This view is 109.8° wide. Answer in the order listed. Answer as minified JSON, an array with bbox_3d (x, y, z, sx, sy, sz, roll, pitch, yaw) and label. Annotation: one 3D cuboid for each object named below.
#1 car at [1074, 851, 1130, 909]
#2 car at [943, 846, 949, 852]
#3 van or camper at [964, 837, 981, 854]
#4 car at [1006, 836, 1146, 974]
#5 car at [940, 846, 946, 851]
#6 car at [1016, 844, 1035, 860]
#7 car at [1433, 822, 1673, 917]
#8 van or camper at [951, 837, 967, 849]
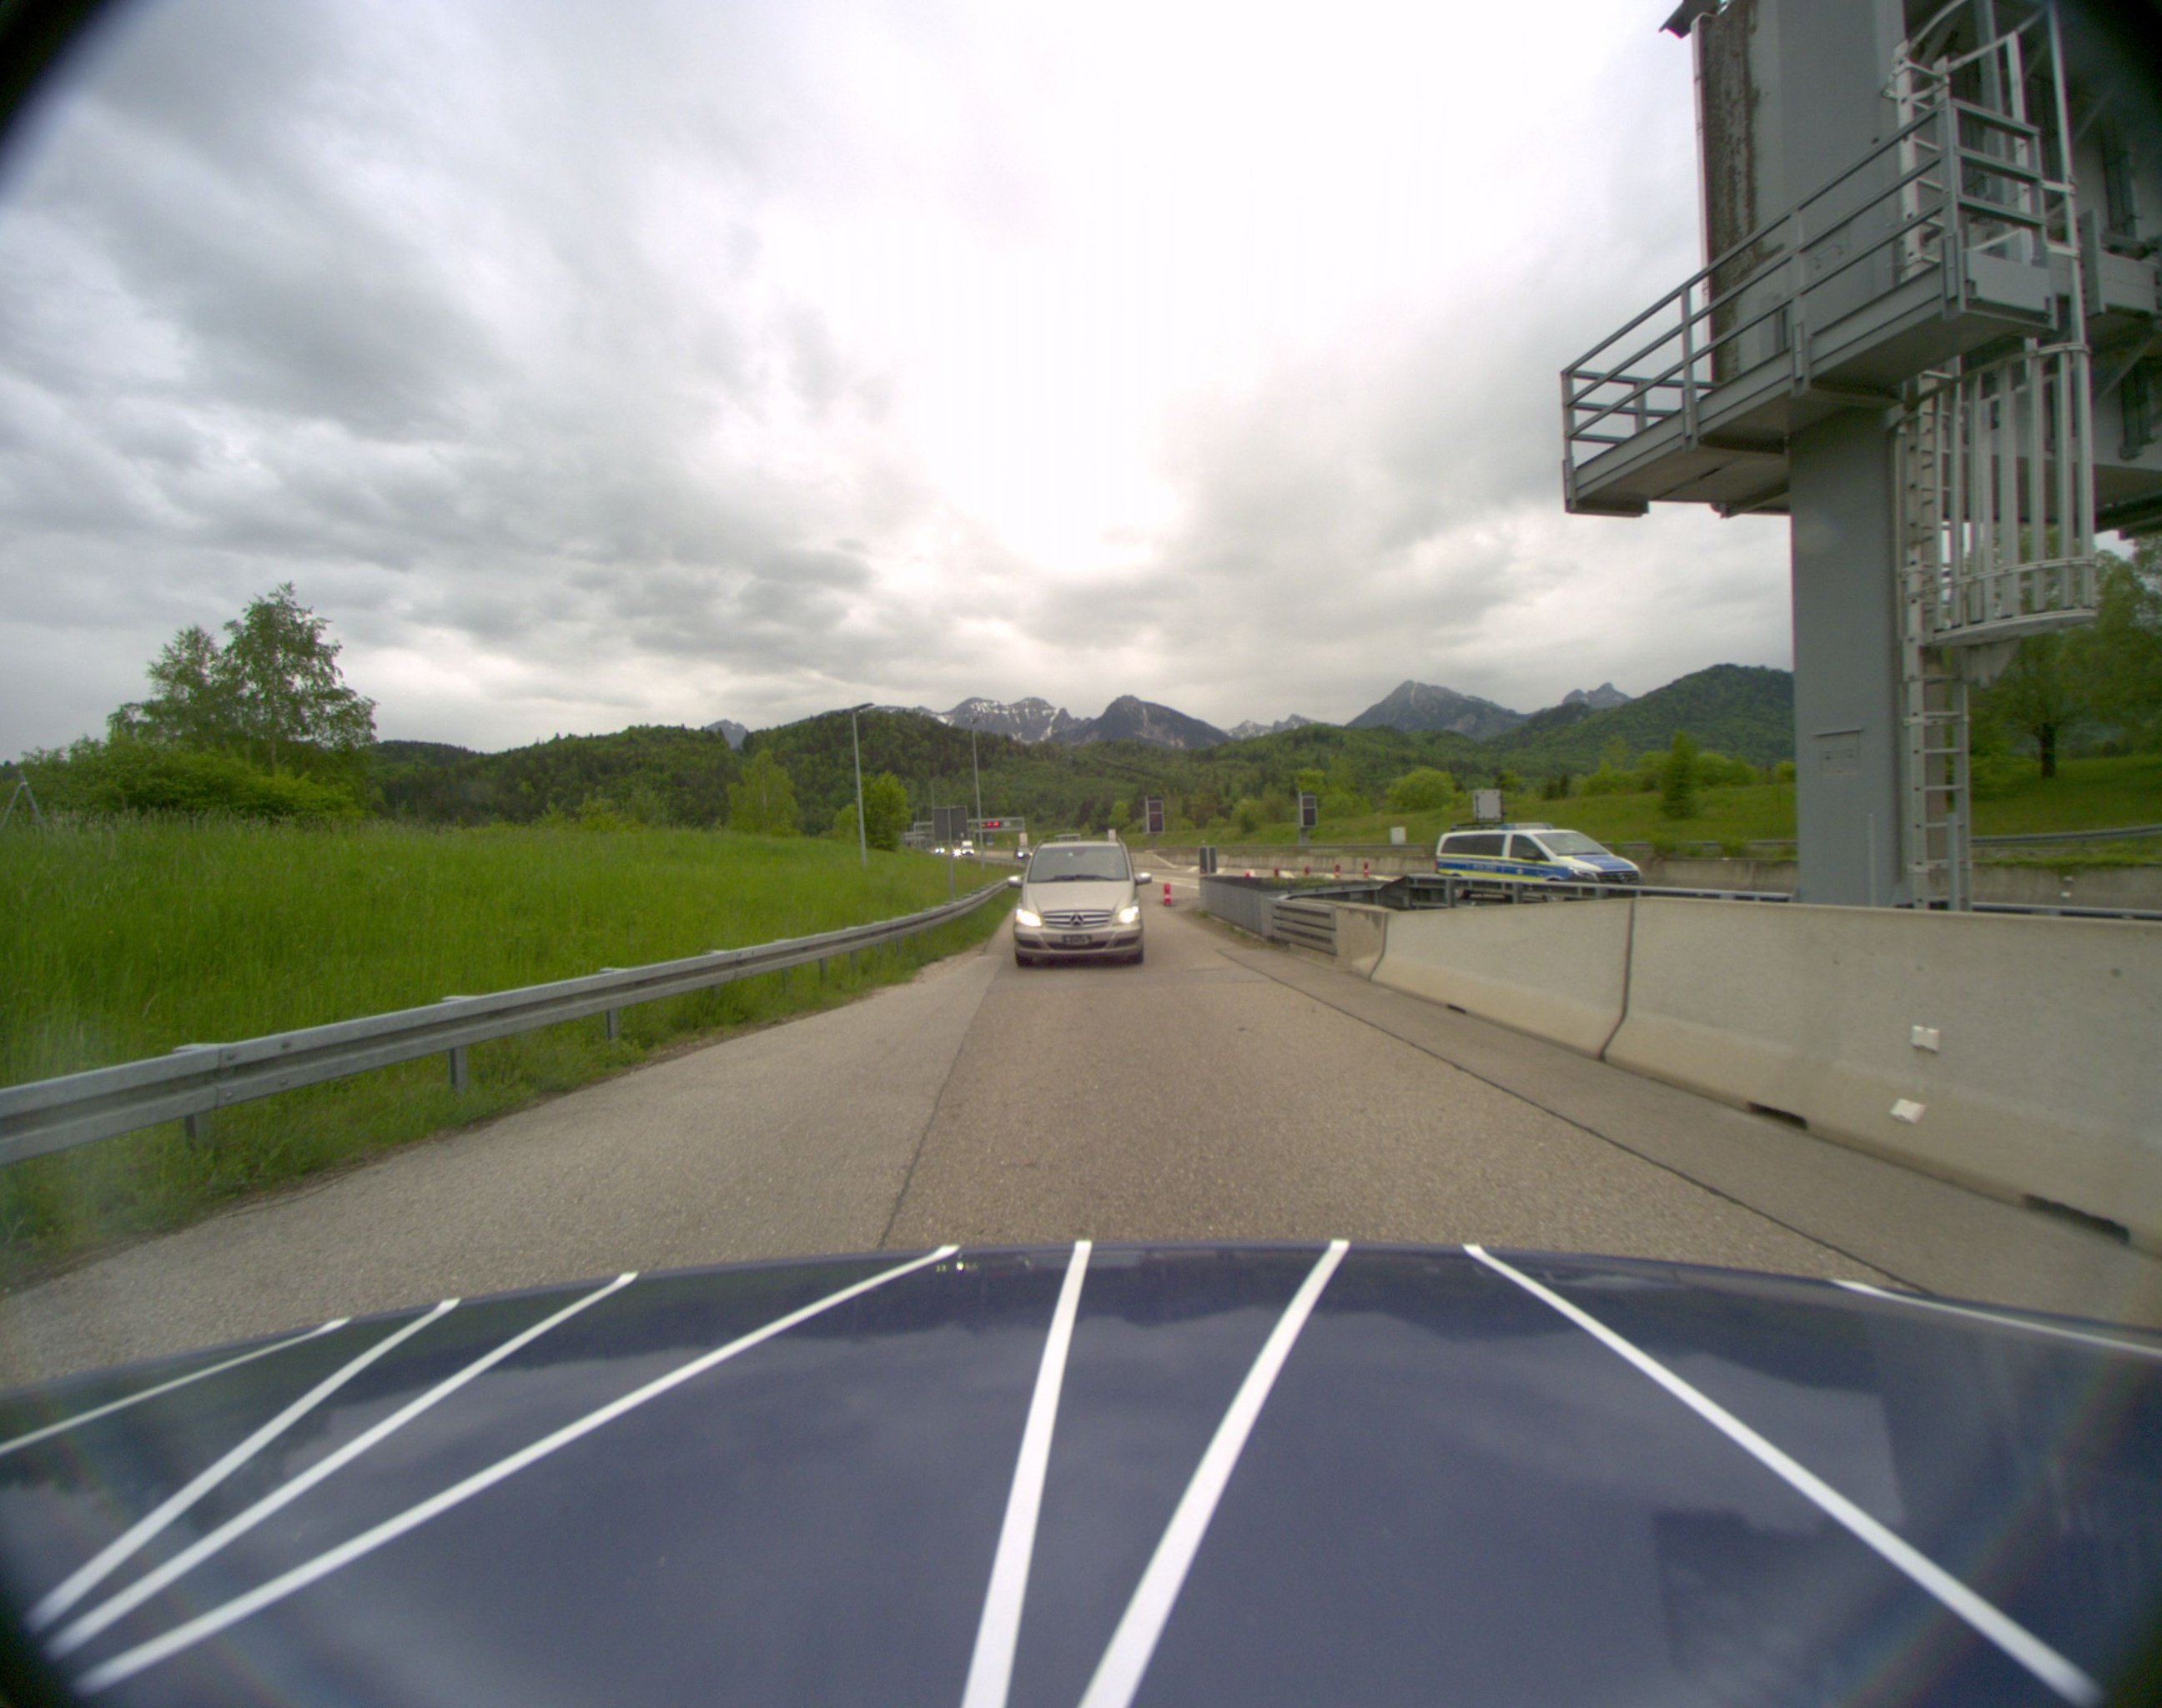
[{"bbox_3d":[0.667,0.774,24.258,1.591,1.662,4.000,-1,0,1],"label":"car"},{"bbox_3d":[-41.804,-1.461,235.549,1.868,1.861,3.995,-2,1,-11],"label":"car"},{"bbox_3d":[-22.349,-1.767,156.485,2.585,3.372,7.345,-2,1,-15],"label":"van or camper"},{"bbox_3d":[-0.035,0.658,13.102,1.862,1.833,5.616,-1,1,1],"label":"car"},{"bbox_3d":[-42.719,-1.690,235.366,1.722,1.629,4.342,-1,1,-14],"label":"car"},{"bbox_3d":[-6.465,-0.290,88.772,1.767,1.759,3.996,-2,1,-11],"label":"car"},{"bbox_3d":[11.337,0.298,18.817,2.106,2.002,5.046,-2,1,-13],"label":"car"},{"bbox_3d":[-29.867,-2.621,185.842,3.345,2.629,8.190,-2,1,-14],"label":"van or camper"}]
